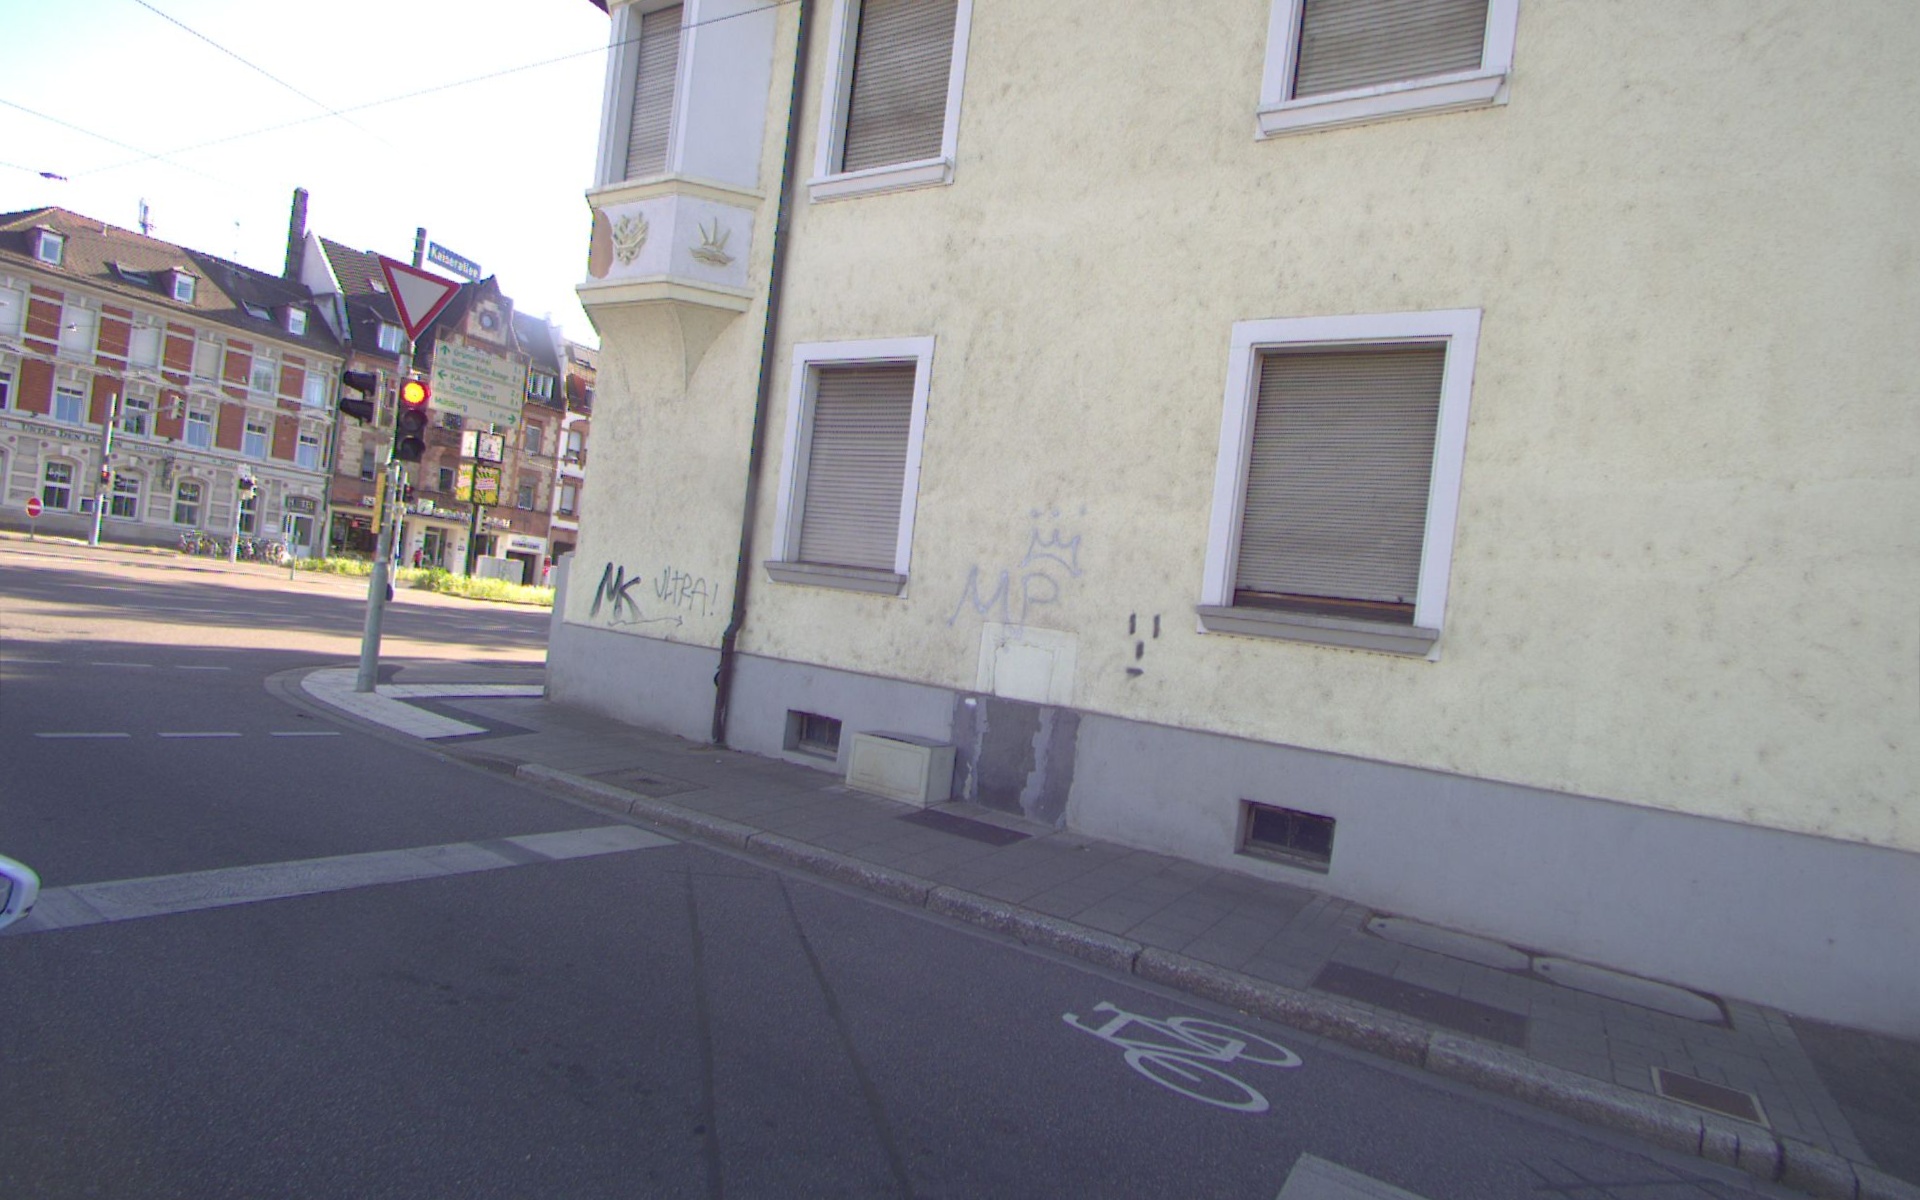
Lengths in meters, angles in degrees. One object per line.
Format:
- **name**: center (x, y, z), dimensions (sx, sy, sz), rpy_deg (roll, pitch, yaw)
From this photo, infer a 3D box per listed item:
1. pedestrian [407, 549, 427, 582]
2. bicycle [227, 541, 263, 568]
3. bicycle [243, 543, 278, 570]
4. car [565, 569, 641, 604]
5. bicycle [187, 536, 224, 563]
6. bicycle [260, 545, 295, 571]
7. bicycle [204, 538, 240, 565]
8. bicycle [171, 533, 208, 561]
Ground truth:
- **pedestrian**: center (-31.032, -1.949, 57.513), dimensions (0.414, 1.773, 0.709), rpy_deg (7, 0, 33)
- **bicycle**: center (-33.643, -2.150, 47.334), dimensions (1.614, 1.064, 0.606), rpy_deg (7, 0, 27)
- **bicycle**: center (-33.349, -2.087, 47.944), dimensions (1.614, 1.064, 0.606), rpy_deg (7, 0, 27)
- **car**: center (-23.116, -0.862, 65.301), dimensions (1.966, 1.674, 4.378), rpy_deg (7, -1, 29)
- **bicycle**: center (-34.640, -2.328, 46.188), dimensions (1.614, 1.064, 0.606), rpy_deg (7, 0, 27)
- **bicycle**: center (-32.975, -2.012, 48.582), dimensions (1.614, 1.064, 0.606), rpy_deg (7, 0, 27)
- **bicycle**: center (-34.310, -2.261, 46.764), dimensions (1.614, 1.064, 0.606), rpy_deg (7, 0, 27)
- **bicycle**: center (-34.940, -2.390, 45.606), dimensions (1.614, 1.064, 0.606), rpy_deg (7, 0, 27)
